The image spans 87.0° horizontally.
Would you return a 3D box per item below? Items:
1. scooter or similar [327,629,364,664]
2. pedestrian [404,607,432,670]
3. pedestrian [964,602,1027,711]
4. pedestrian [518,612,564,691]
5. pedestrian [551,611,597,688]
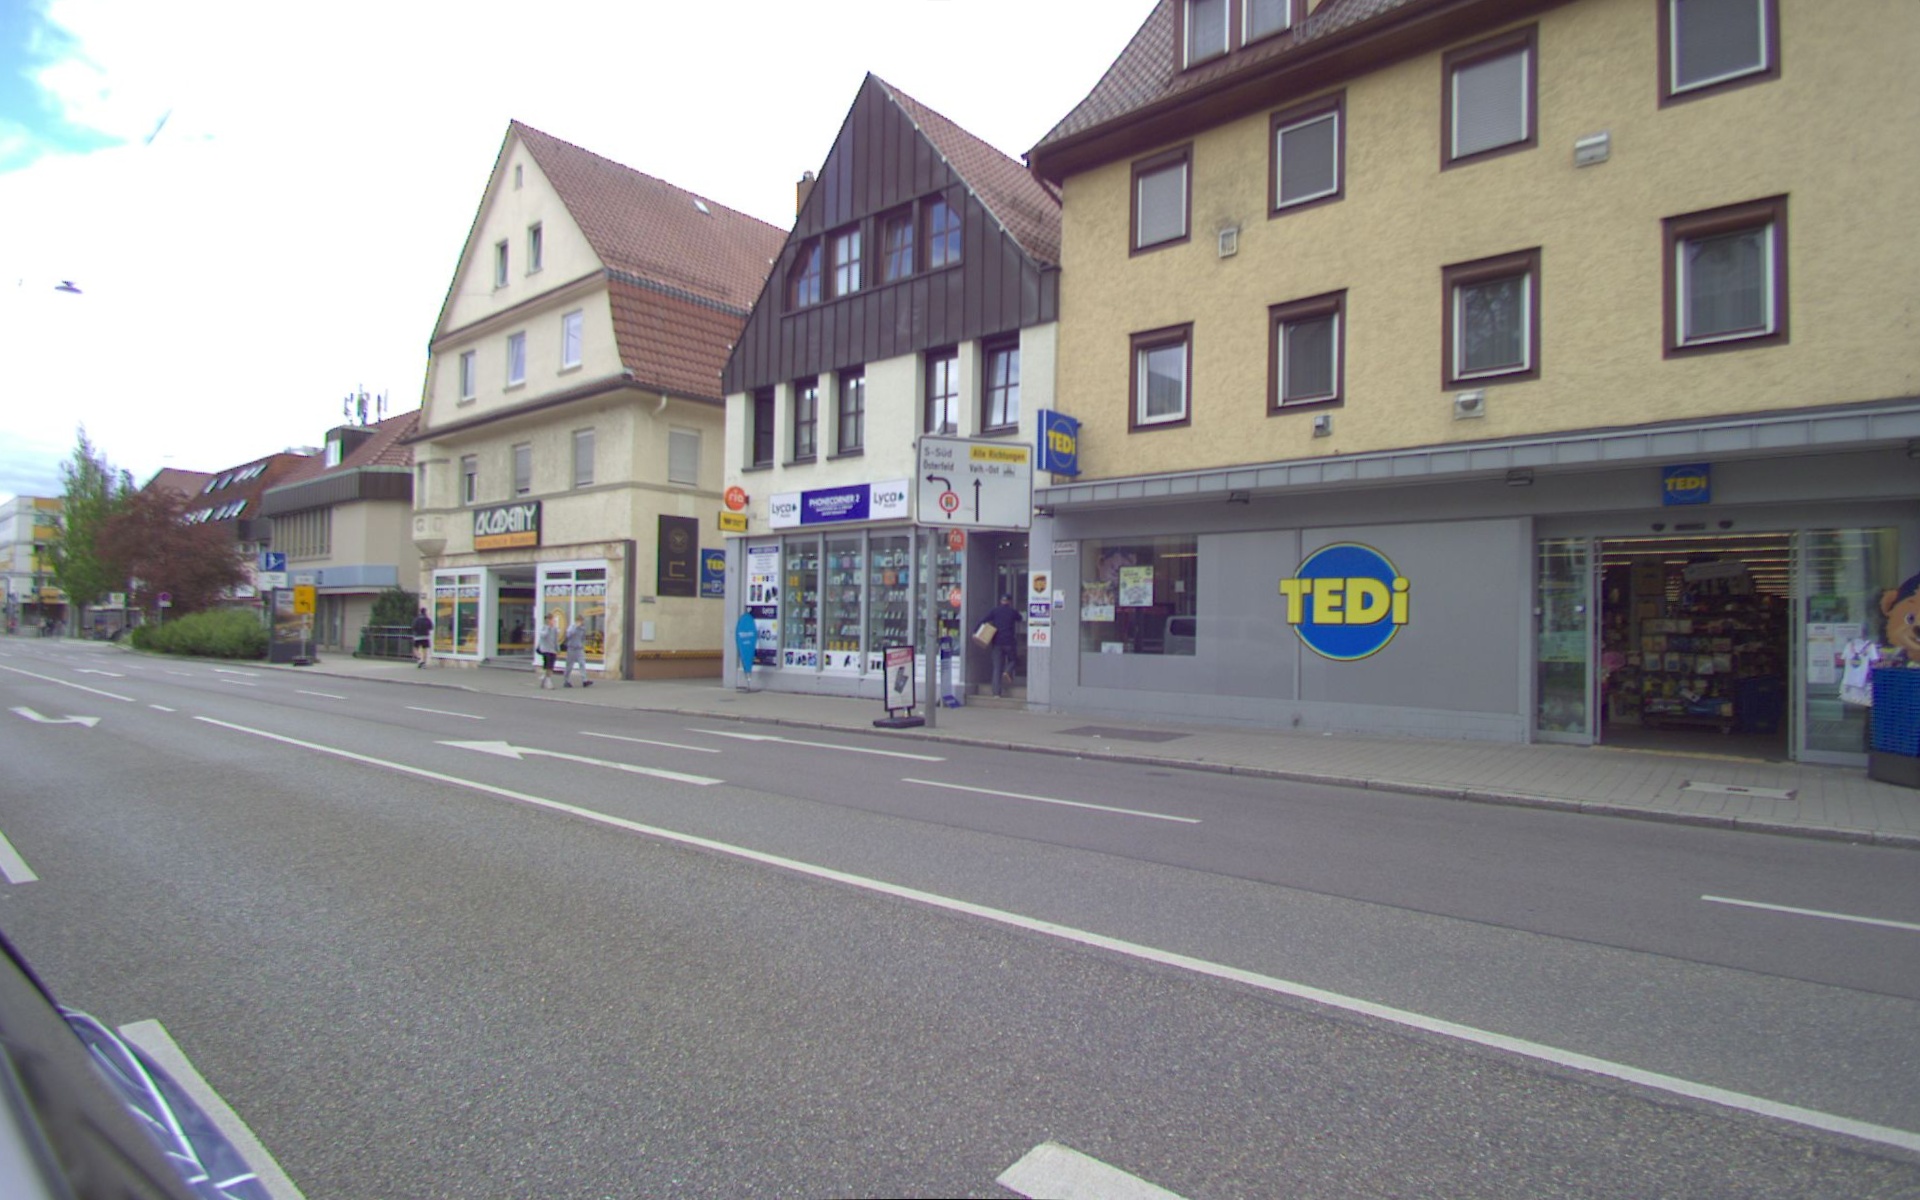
[{"bbox_3d":[-25.431,1.904,41.868,0.536,1.404,1.182,-1,-2,26],"label":"scooter or similar"},{"bbox_3d":[-16.563,1.171,30.934,0.592,1.903,0.544,-1,-1,37],"label":"pedestrian"},{"bbox_3d":[0.583,0.908,16.589,0.775,1.726,0.679,-1,-1,42],"label":"pedestrian"},{"bbox_3d":[-9.345,1.129,22.573,0.742,1.703,0.680,-1,-1,41],"label":"pedestrian"},{"bbox_3d":[-8.793,1.115,23.067,0.709,1.683,0.680,-1,0,41],"label":"pedestrian"}]
